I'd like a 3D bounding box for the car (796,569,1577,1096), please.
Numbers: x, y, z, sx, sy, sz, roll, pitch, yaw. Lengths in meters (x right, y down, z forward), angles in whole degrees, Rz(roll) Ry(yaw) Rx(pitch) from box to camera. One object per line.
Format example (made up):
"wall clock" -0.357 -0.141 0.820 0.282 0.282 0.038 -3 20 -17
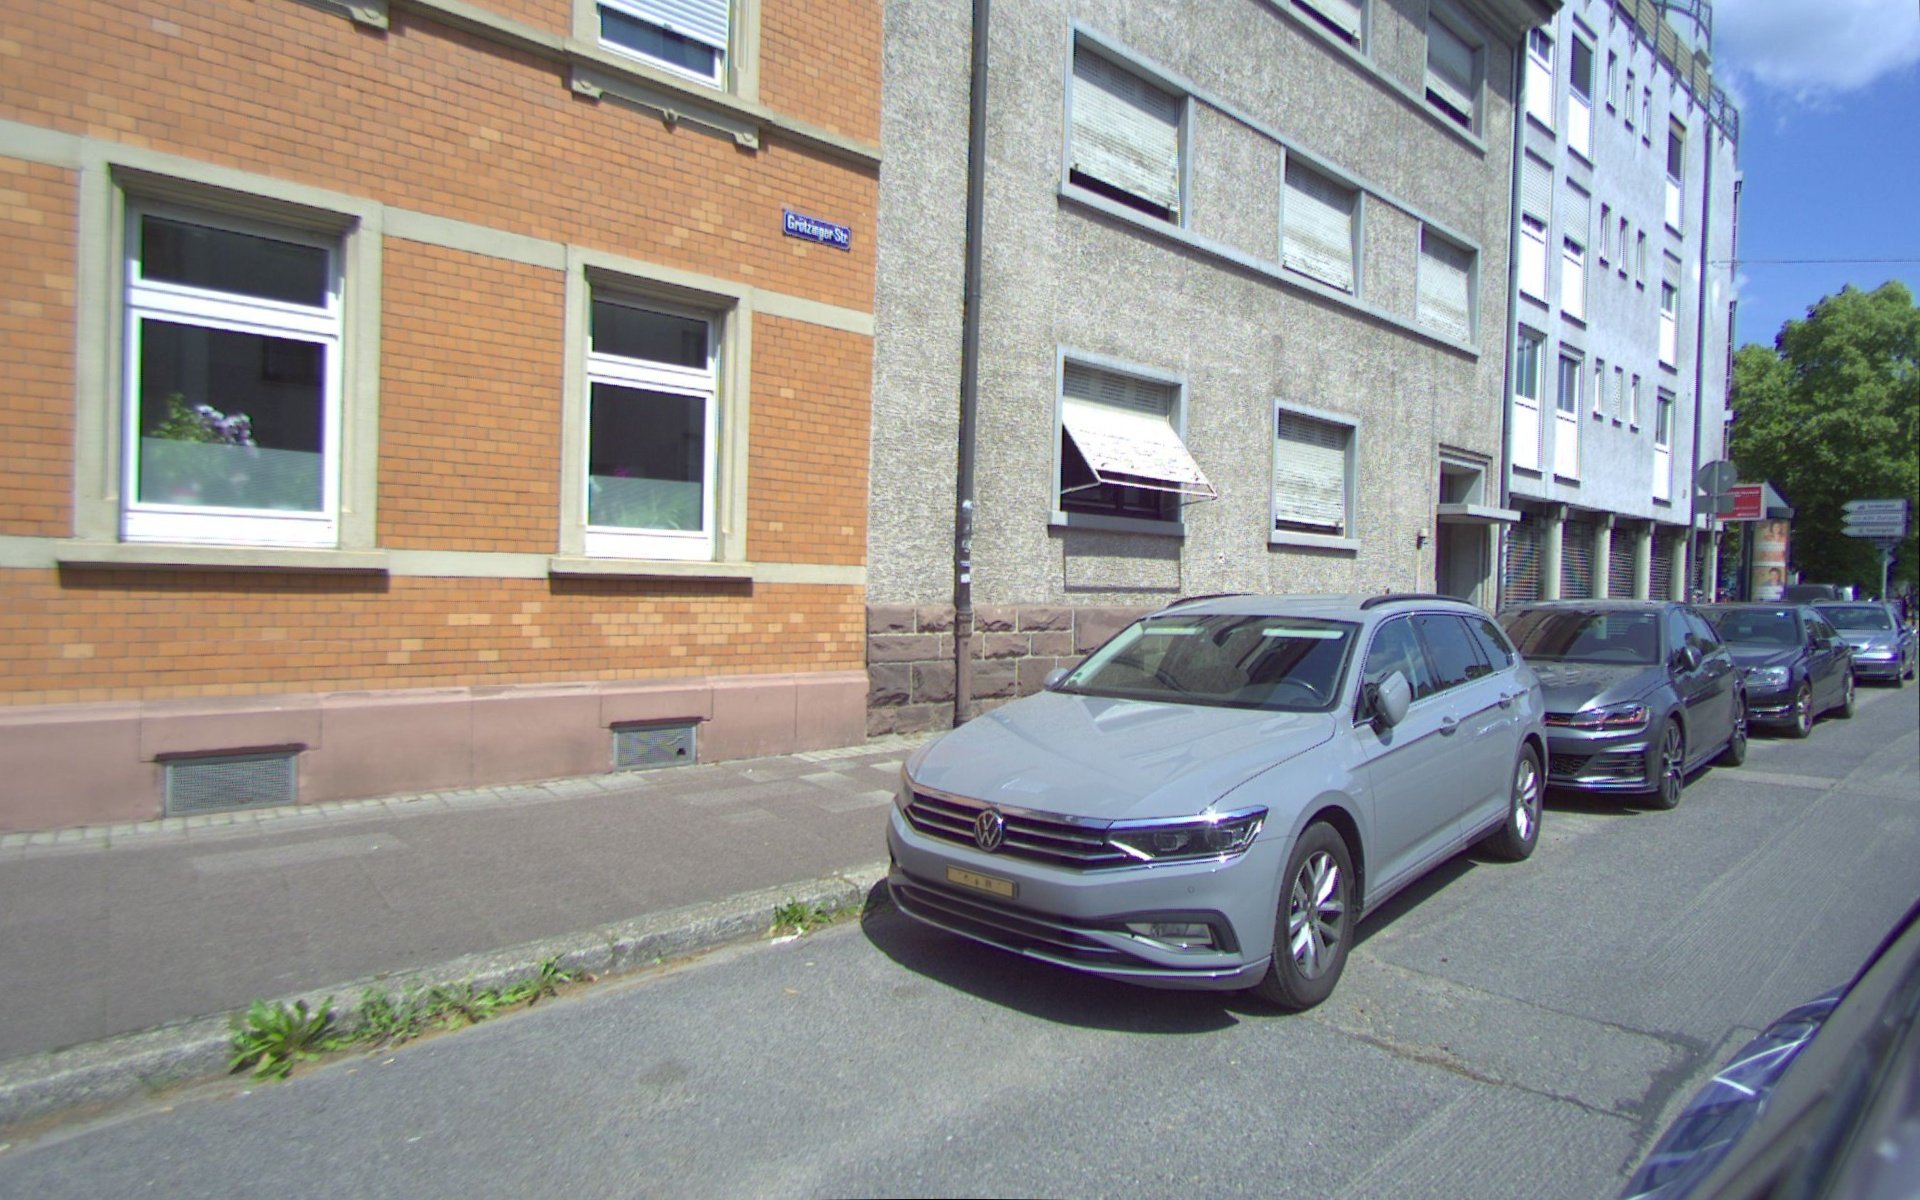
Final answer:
"car" 1.528 0.607 5.124 1.853 1.481 4.480 2 2 43

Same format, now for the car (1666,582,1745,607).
"car" 50.636 -0.369 68.801 1.772 1.491 3.997 0 3 -39

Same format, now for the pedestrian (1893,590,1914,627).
"pedestrian" 41.598 0.355 44.620 0.724 1.613 0.618 0 1 -42

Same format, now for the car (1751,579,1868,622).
"car" 36.917 -0.014 44.017 3.765 1.688 1.637 3 2 45

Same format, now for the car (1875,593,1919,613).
"car" 65.615 0.207 69.649 3.832 1.375 1.606 1 1 41

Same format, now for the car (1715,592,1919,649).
"car" 24.497 0.523 28.769 1.966 1.382 4.587 0 2 -43

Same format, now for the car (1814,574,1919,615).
"car" 52.527 -0.308 58.510 2.069 2.305 4.610 0 0 -41

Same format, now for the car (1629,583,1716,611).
"car" 43.212 -0.230 61.444 1.772 1.491 3.997 0 3 -39

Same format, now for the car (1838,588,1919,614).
"car" 55.533 0.076 60.611 1.778 1.512 4.330 0 0 -42

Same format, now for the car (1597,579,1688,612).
"car" 39.300 -0.311 58.353 1.772 1.682 3.997 0 3 -39

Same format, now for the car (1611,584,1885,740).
"car" 9.490 0.594 12.060 4.360 1.491 1.715 0 2 -41

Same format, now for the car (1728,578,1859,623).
"car" 34.877 -0.025 42.399 1.982 1.772 3.993 -1 2 -42

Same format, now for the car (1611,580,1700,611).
"car" 41.305 -0.280 60.172 1.772 1.605 3.997 0 3 -39

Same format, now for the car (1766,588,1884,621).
"car" 40.369 0.177 47.292 1.777 1.415 3.992 0 1 -43

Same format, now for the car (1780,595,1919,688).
"car" 16.087 0.646 18.103 4.073 1.473 1.679 0 1 -43

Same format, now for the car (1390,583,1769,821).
"car" 5.184 0.611 8.236 3.981 1.437 1.653 0 2 -44

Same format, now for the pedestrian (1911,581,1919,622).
"pedestrian" 42.000 0.069 44.172 0.724 1.786 0.618 0 1 -42

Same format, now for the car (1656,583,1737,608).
"car" 48.547 -0.324 66.787 1.772 1.491 3.997 0 3 -39
